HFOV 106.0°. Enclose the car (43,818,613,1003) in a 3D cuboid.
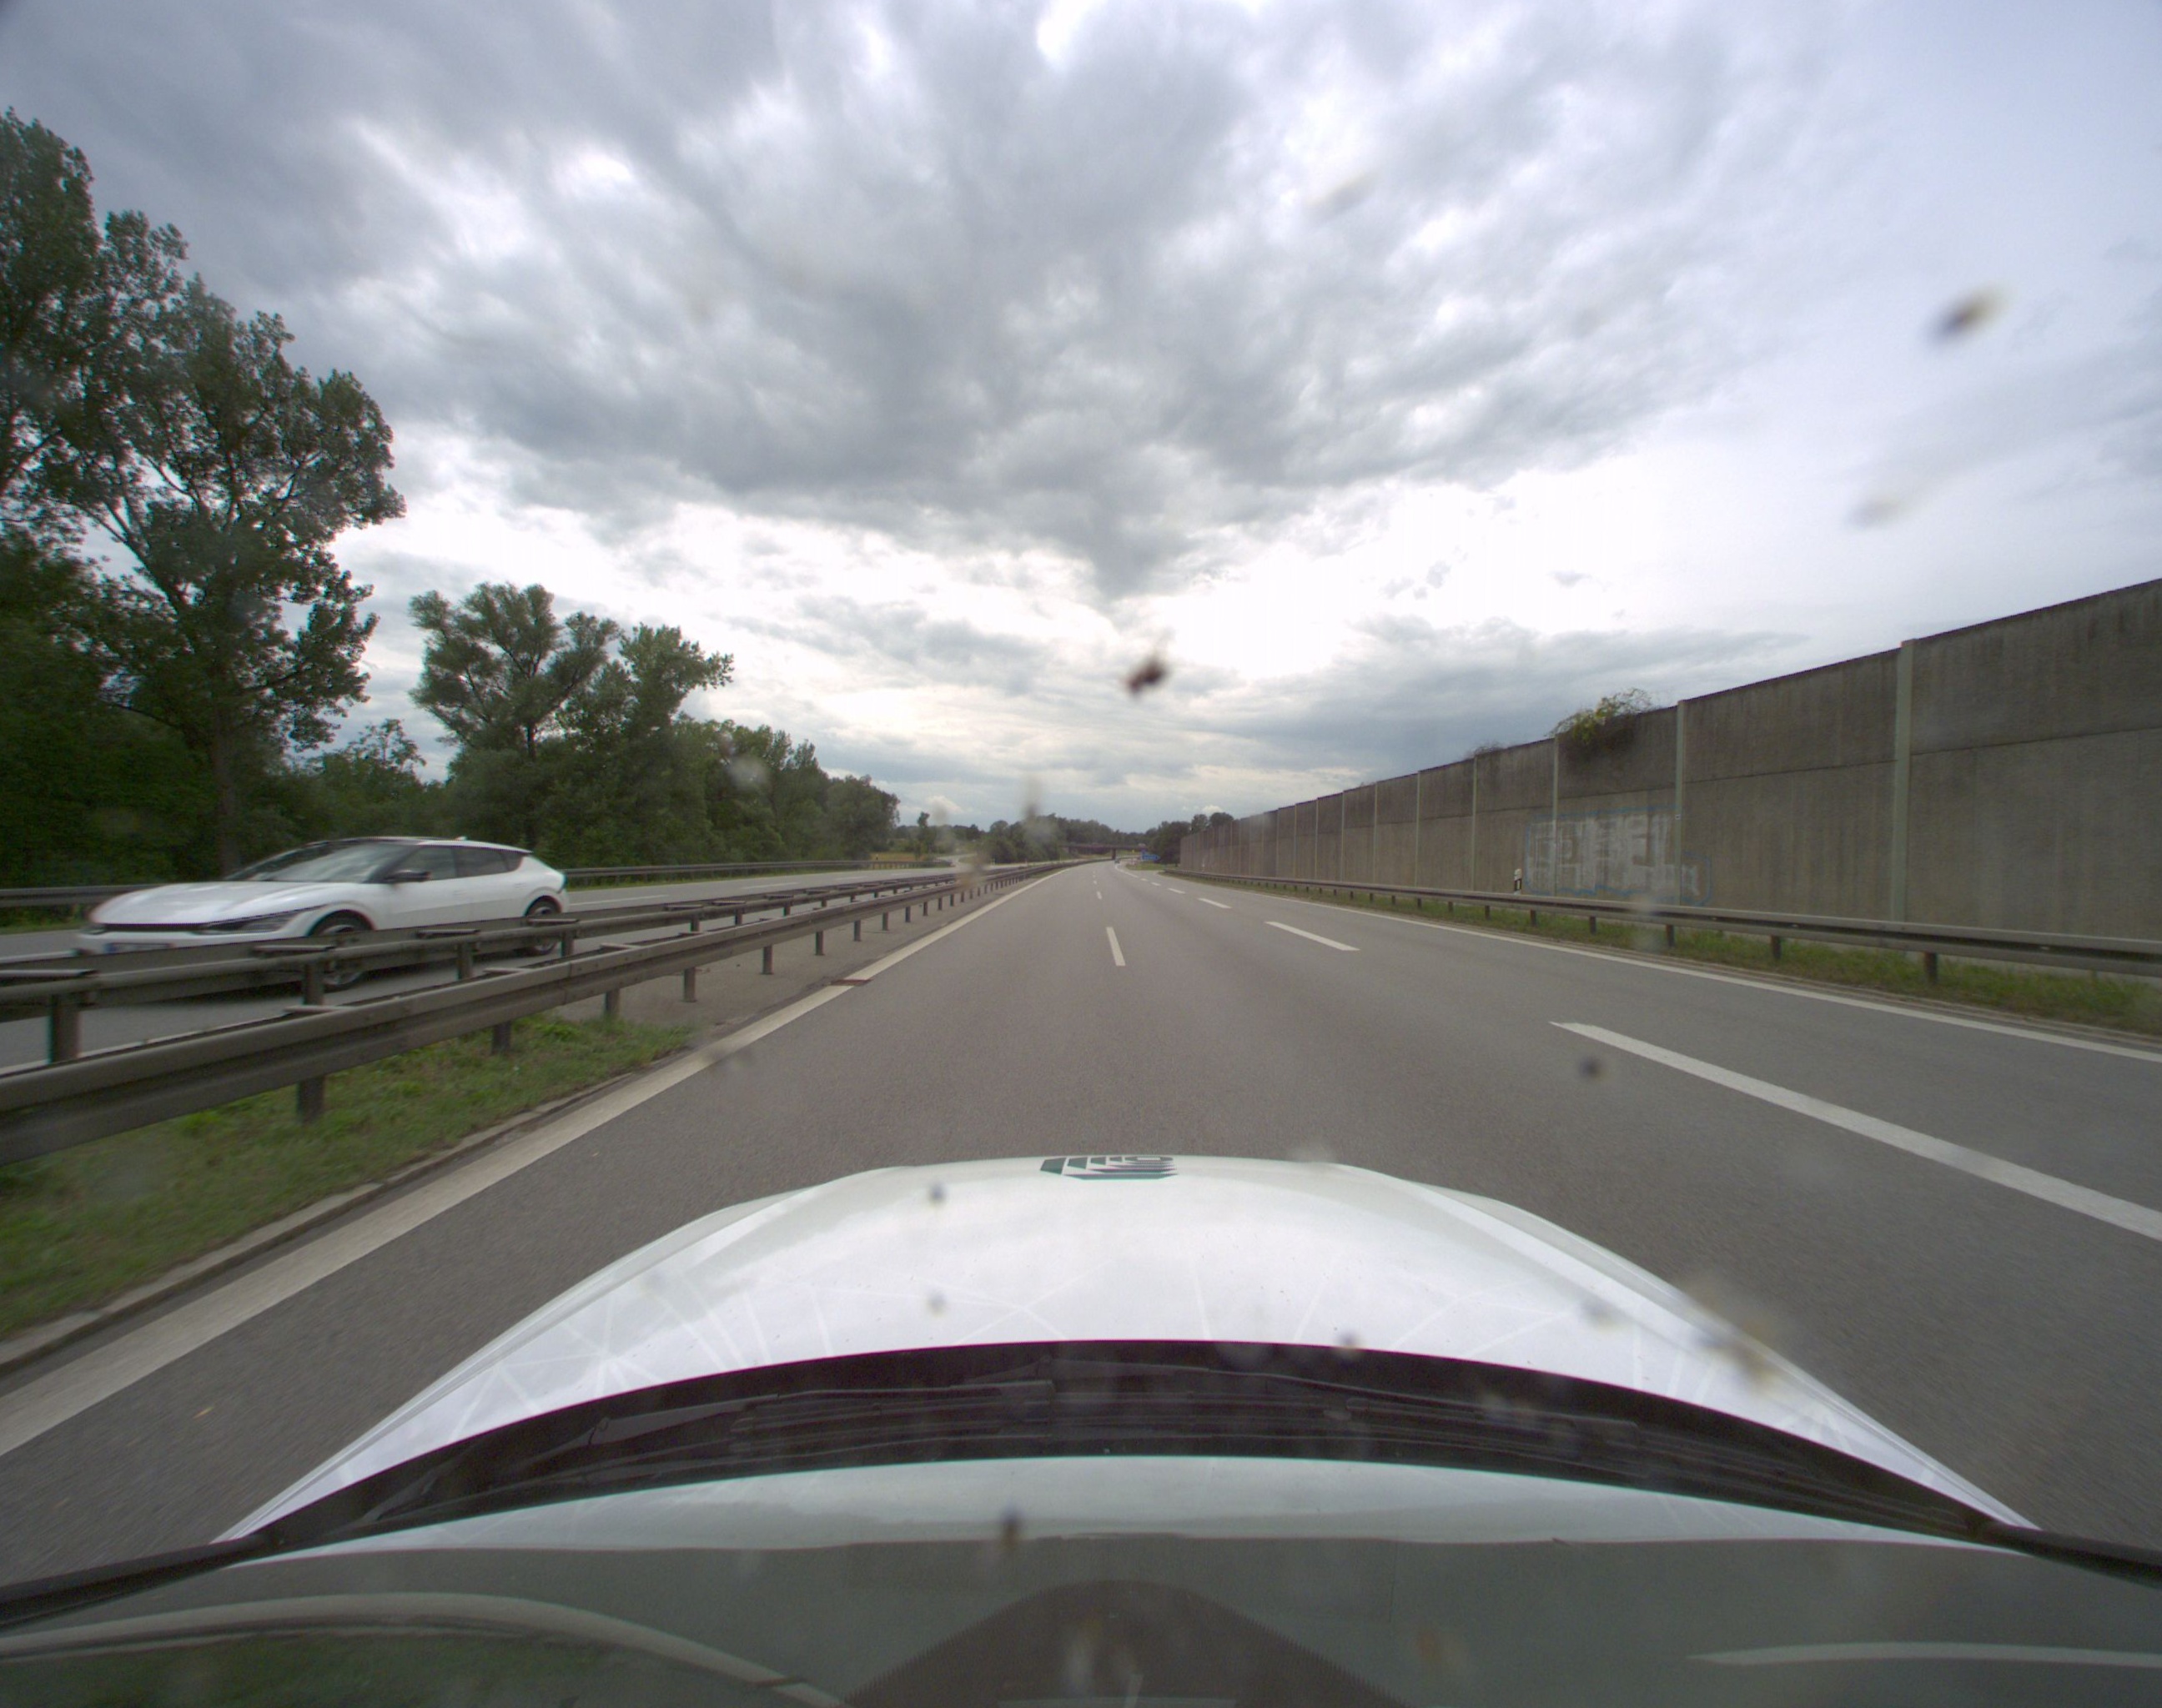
[{"bbox_3d":[-8.077,0.498,9.686,1.986,1.615,5.030,0,0,2],"label":"car"}]
